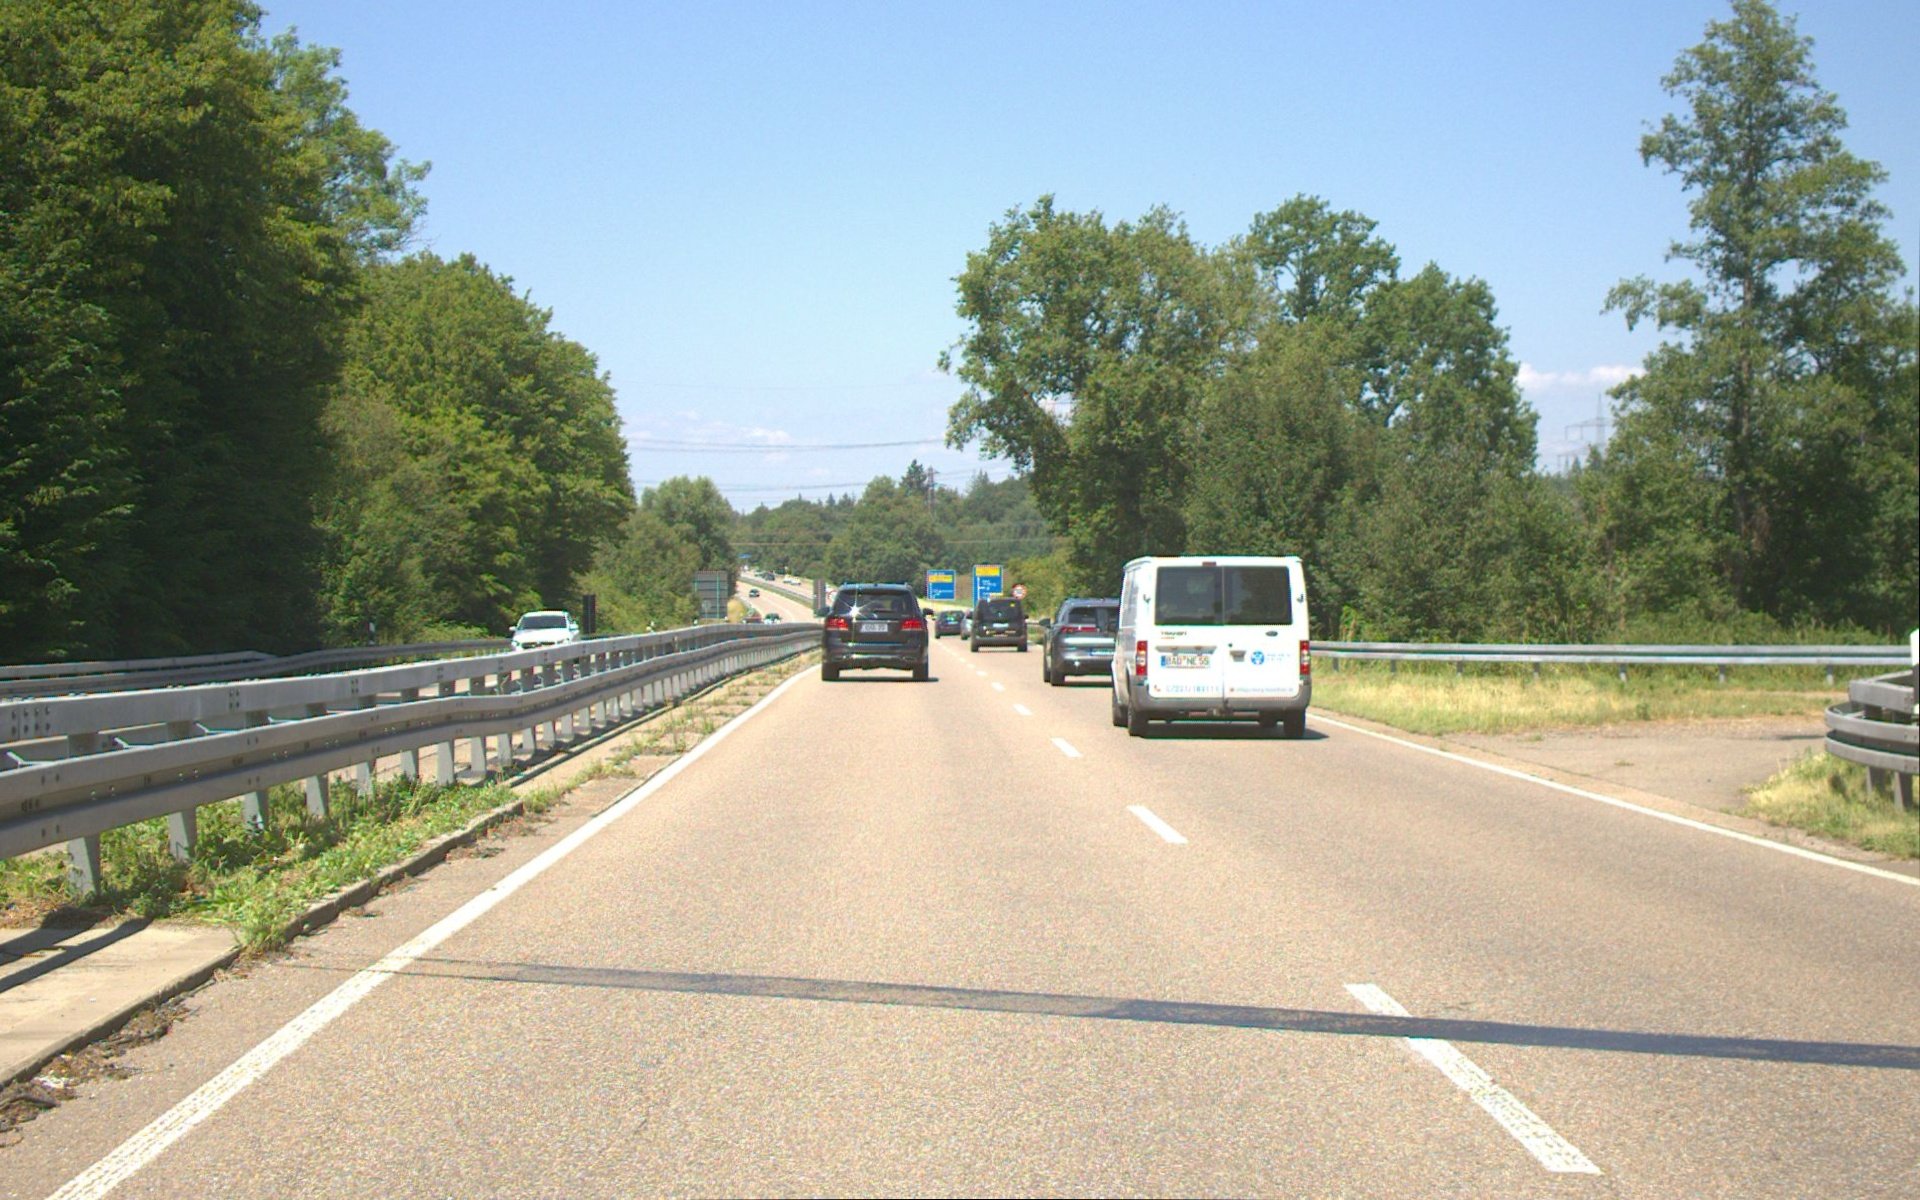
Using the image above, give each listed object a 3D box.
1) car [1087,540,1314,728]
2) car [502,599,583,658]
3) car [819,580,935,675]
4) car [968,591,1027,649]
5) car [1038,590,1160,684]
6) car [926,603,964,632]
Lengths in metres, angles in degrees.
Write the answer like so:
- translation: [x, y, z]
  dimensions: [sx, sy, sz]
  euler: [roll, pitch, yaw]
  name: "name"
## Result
- translation: [2.652, 0.395, 39.092]
  dimensions: [2.005, 1.982, 5.034]
  euler: [0, -1, -2]
  name: "car"
- translation: [-12.209, 0.813, 100.728]
  dimensions: [1.818, 1.593, 4.841]
  euler: [-3, 0, -1]
  name: "car"
- translation: [-1.543, 0.470, 62.546]
  dimensions: [1.993, 1.649, 4.000]
  euler: [-1, 1, -3]
  name: "car"
- translation: [1.220, 0.638, 113.668]
  dimensions: [1.779, 1.810, 4.213]
  euler: [-2, 0, -1]
  name: "car"
- translation: [2.401, 0.627, 60.260]
  dimensions: [1.785, 1.548, 4.019]
  euler: [-1, 0, -2]
  name: "car"
- translation: [-0.785, 0.907, 177.463]
  dimensions: [1.819, 1.409, 4.000]
  euler: [-2, 0, -2]
  name: "car"
